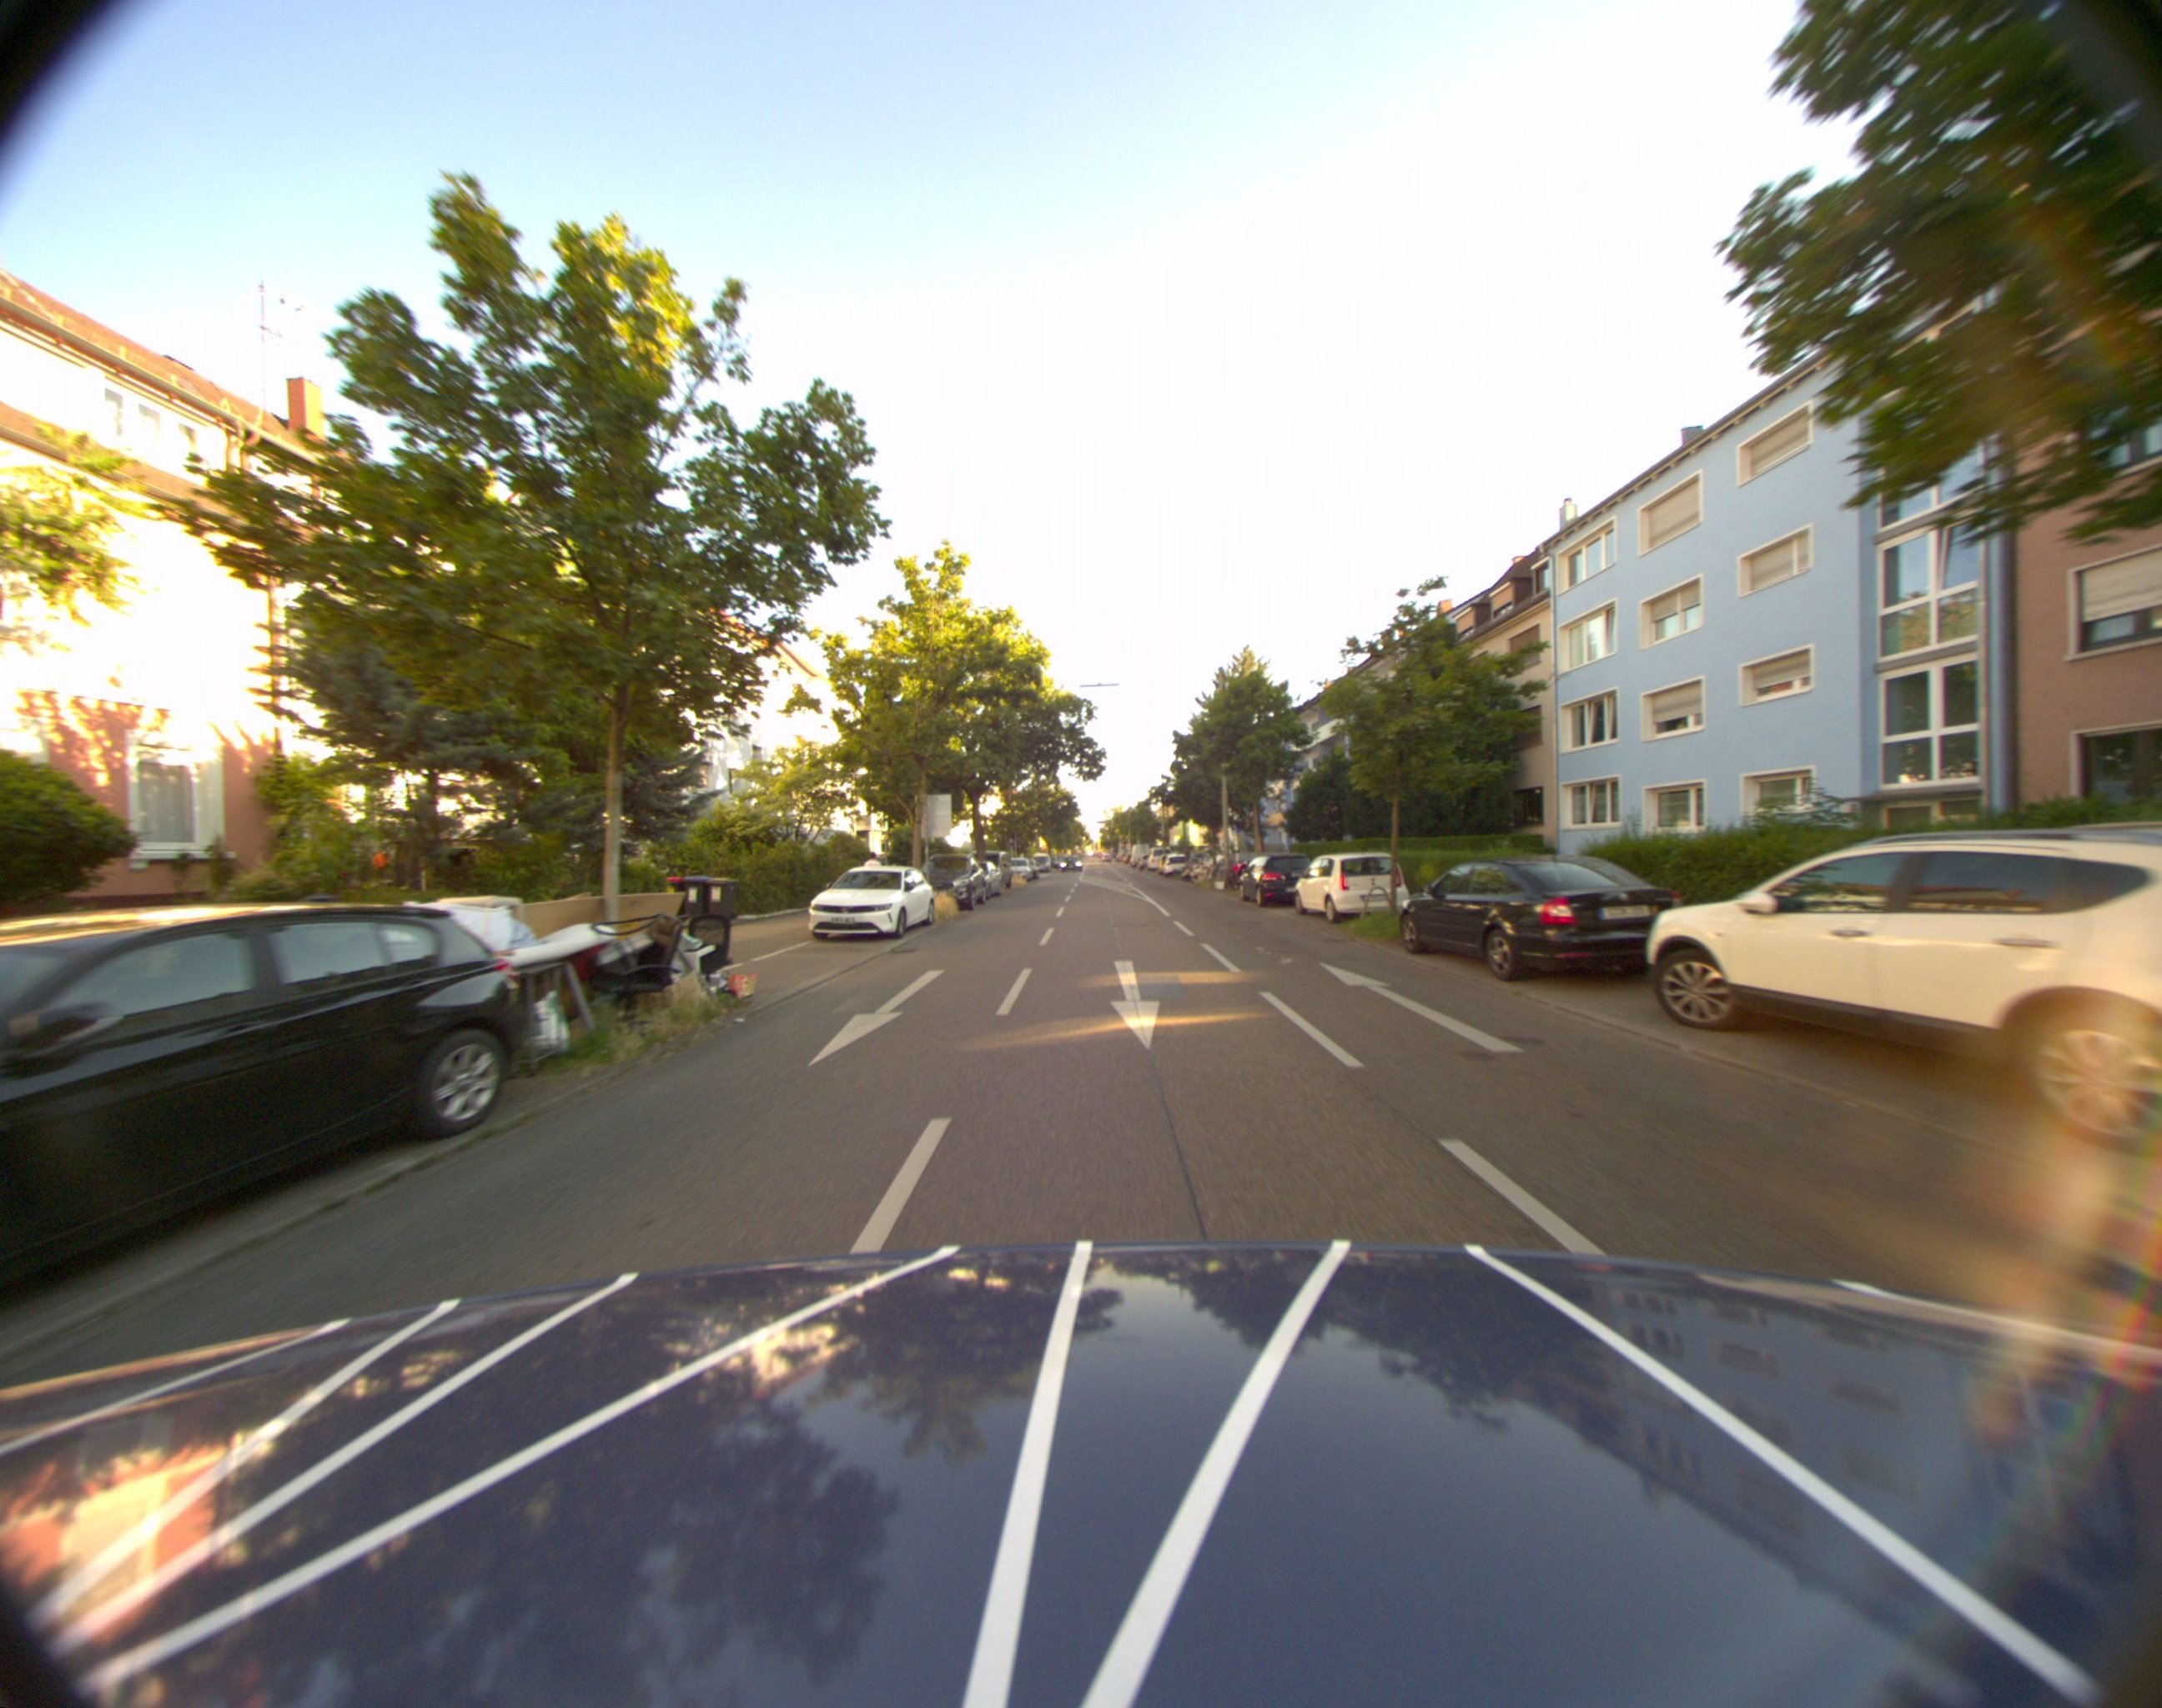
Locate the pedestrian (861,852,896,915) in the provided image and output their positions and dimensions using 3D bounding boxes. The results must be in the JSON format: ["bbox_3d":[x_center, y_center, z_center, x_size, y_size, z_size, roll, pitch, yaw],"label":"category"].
[{"bbox_3d":[-6.011,0.870,22.577,0.669,1.773,0.764,-5,3,1],"label":"pedestrian"}]

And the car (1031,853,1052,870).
[{"bbox_3d":[-3.680,0.665,71.187,1.798,1.577,3.999,-1,0,-2],"label":"car"}]

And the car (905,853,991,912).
[{"bbox_3d":[-4.122,0.828,24.327,1.921,1.672,4.707,0,0,0],"label":"car"}]

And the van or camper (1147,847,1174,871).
[{"bbox_3d":[6.881,0.416,66.122,1.809,2.002,4.864,-2,0,0],"label":"van or camper"}]

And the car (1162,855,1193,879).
[{"bbox_3d":[6.414,0.835,50.820,1.684,1.434,3.882,-3,0,3],"label":"car"}]

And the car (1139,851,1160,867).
[{"bbox_3d":[6.754,0.440,74.832,1.808,1.489,3.957,-2,0,2],"label":"car"}]

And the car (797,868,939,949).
[{"bbox_3d":[-4.400,1.073,16.435,1.766,1.394,4.333,-1,0,1],"label":"car"}]

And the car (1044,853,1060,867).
[{"bbox_3d":[-3.230,0.623,85.200,1.798,1.558,3.671,-1,0,-2],"label":"car"}]

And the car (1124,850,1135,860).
[{"bbox_3d":[8.397,0.169,132.871,1.808,1.587,3.957,-2,0,2],"label":"car"}]

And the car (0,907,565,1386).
[{"bbox_3d":[-4.601,1.119,3.159,1.774,1.440,4.484,-1,0,1],"label":"car"}]

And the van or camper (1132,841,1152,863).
[{"bbox_3d":[7.130,-0.241,88.722,1.917,2.528,5.334,-2,0,1],"label":"van or camper"}]

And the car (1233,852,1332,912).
[{"bbox_3d":[5.806,0.743,22.455,1.842,1.508,4.316,-3,0,2],"label":"car"}]

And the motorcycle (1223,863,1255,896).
[{"bbox_3d":[6.006,0.946,28.988,0.640,1.129,2.172,-4,0,-2],"label":"motorcycle"}]

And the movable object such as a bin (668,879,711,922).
[{"bbox_3d":[-10.023,1.180,19.476,0.727,1.052,0.684,2,1,0],"label":"movable object such as a bin"}]

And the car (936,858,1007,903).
[{"bbox_3d":[-4.102,0.954,29.271,1.788,1.495,4.831,-2,0,3],"label":"car"}]

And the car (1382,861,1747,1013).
[{"bbox_3d":[5.865,0.880,10.052,1.998,1.439,4.458,-2,1,0],"label":"car"}]

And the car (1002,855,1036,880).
[{"bbox_3d":[-3.835,0.832,47.514,1.738,1.435,4.304,-1,0,0],"label":"car"}]

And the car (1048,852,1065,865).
[{"bbox_3d":[-2.981,0.562,92.663,1.798,1.558,3.672,-1,0,1],"label":"car"}]

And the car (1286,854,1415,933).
[{"bbox_3d":[5.991,0.811,17.318,1.595,1.483,3.641,-2,1,0],"label":"car"}]

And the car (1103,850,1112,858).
[{"bbox_3d":[5.129,0.005,148.192,1.726,1.473,3.956,-1,0,0],"label":"car"}]

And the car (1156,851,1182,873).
[{"bbox_3d":[6.464,0.548,55.871,1.577,1.460,3.491,-3,0,3],"label":"car"}]

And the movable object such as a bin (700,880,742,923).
[{"bbox_3d":[-9.225,1.206,19.484,0.727,1.052,0.684,2,1,0],"label":"movable object such as a bin"}]

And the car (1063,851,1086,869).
[{"bbox_3d":[-0.570,0.509,70.430,1.999,1.525,3.999,-2,0,0],"label":"car"}]

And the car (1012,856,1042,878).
[{"bbox_3d":[-3.717,0.857,52.815,1.738,1.435,4.339,-1,0,0],"label":"car"}]

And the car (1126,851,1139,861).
[{"bbox_3d":[7.855,0.272,114.890,1.762,1.439,3.786,-2,0,6],"label":"car"}]

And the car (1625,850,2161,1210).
[{"bbox_3d":[5.855,0.801,4.851,1.781,1.579,4.185,-3,0,1],"label":"car"}]

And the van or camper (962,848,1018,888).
[{"bbox_3d":[-4.452,0.684,37.944,1.998,1.831,5.260,-2,-1,1],"label":"van or camper"}]

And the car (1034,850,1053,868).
[{"bbox_3d":[-3.796,0.519,76.577,1.798,1.761,3.999,-1,0,-2],"label":"car"}]
